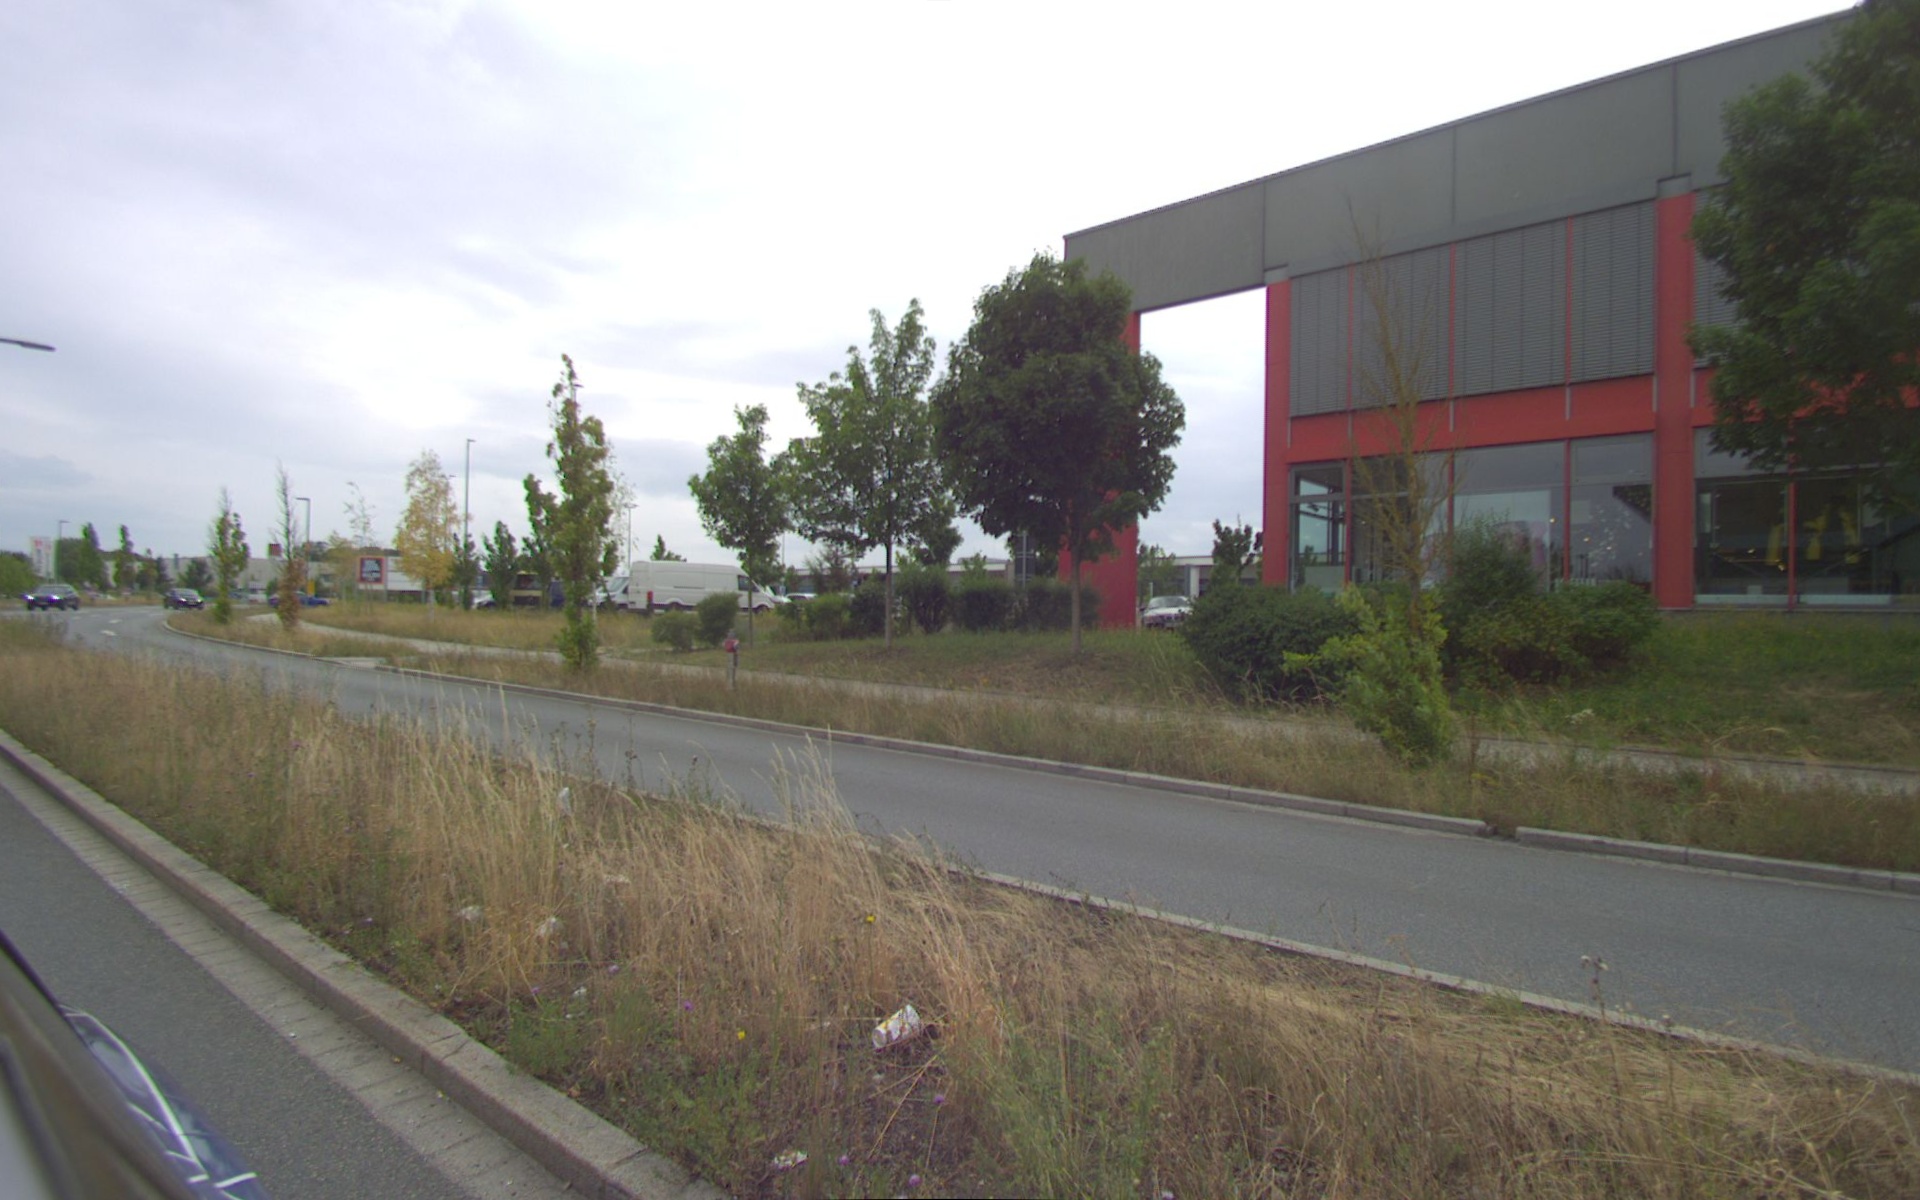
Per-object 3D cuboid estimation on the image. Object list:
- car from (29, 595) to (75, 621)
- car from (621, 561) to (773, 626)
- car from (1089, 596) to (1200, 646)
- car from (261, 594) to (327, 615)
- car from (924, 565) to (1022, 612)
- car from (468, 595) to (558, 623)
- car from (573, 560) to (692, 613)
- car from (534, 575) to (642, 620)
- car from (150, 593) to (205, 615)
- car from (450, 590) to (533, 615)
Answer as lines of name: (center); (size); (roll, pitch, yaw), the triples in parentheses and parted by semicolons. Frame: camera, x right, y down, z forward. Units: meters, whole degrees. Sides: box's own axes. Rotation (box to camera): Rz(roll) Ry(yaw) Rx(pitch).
car: (-58.396, 0.488, 65.136); (1.968, 1.586, 4.008); (0, 1, -39)
car: (-11.430, -0.281, 44.481); (2.065, 2.643, 6.327); (1, 1, 44)
car: (5.165, 0.553, 28.533); (2.860, 1.279, 1.245); (1, 1, 42)
car: (-51.129, 0.384, 77.700); (3.940, 1.524, 1.736); (2, -1, -44)
car: (0.674, -0.640, 54.642); (5.048, 2.390, 2.039); (1, 1, 37)
car: (-29.287, 0.596, 66.342); (4.977, 1.669, 2.068); (2, -1, -40)
car: (-15.359, -0.633, 47.675); (2.063, 2.390, 4.989); (1, 1, 40)
car: (-19.863, -0.108, 54.118); (4.980, 2.240, 2.067); (2, -1, -43)
car: (-59.859, 0.314, 77.412); (3.985, 1.586, 1.980); (1, 1, 30)
car: (-33.501, 0.204, 72.400); (4.977, 1.669, 2.068); (2, -1, -40)
